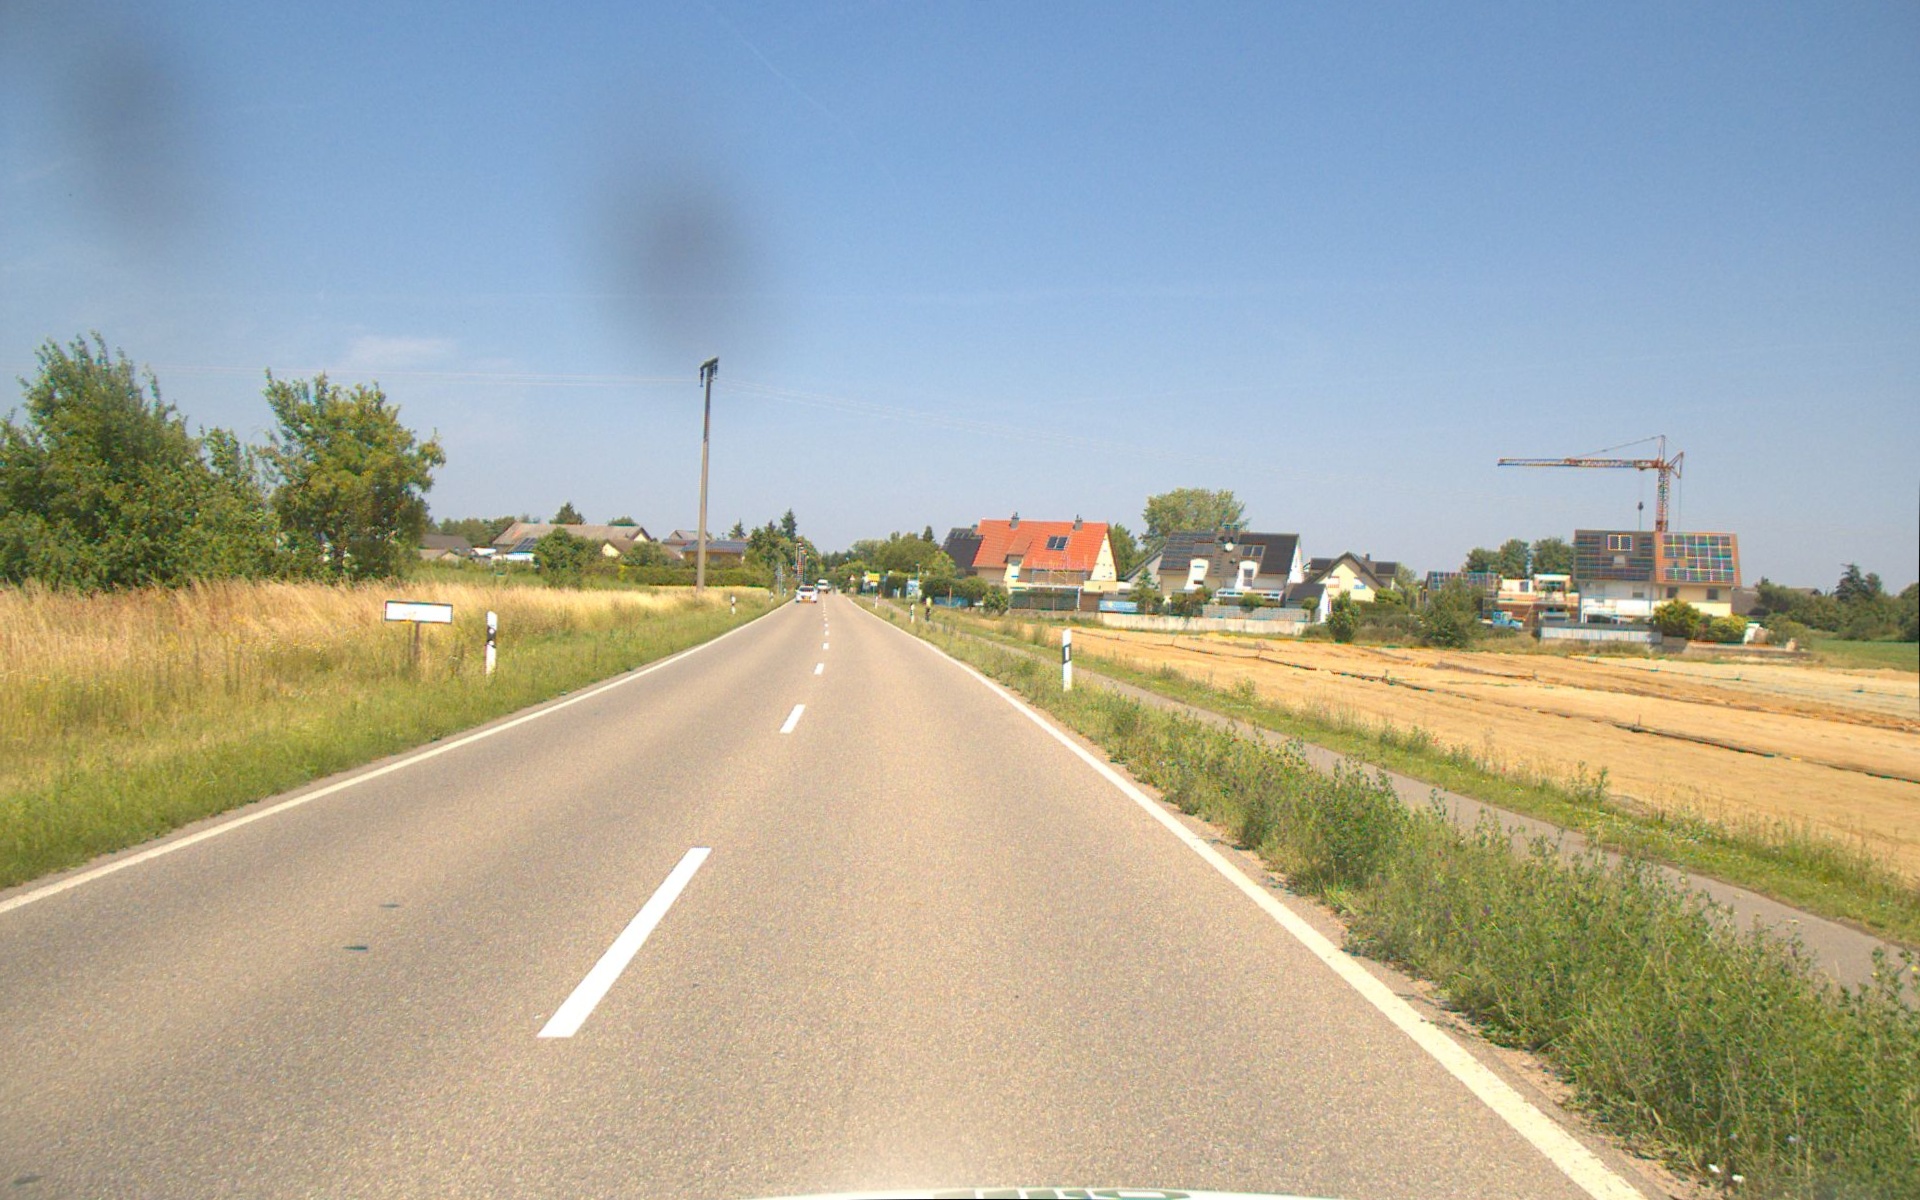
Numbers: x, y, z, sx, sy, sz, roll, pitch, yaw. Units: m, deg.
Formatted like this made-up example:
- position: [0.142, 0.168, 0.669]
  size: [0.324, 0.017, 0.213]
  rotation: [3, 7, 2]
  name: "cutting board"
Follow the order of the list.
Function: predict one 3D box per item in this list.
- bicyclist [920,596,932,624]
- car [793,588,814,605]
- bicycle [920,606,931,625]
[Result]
- position: [-2.405, 0.710, 116.222]
  size: [0.632, 1.922, 0.860]
  rotation: [4, 1, -6]
  name: "bicyclist"
- position: [-13.775, -0.281, 145.894]
  size: [1.757, 1.434, 4.181]
  rotation: [1, 0, -5]
  name: "car"
- position: [-2.432, 1.076, 116.257]
  size: [0.598, 1.178, 2.272]
  rotation: [4, 1, -5]
  name: "bicycle"
